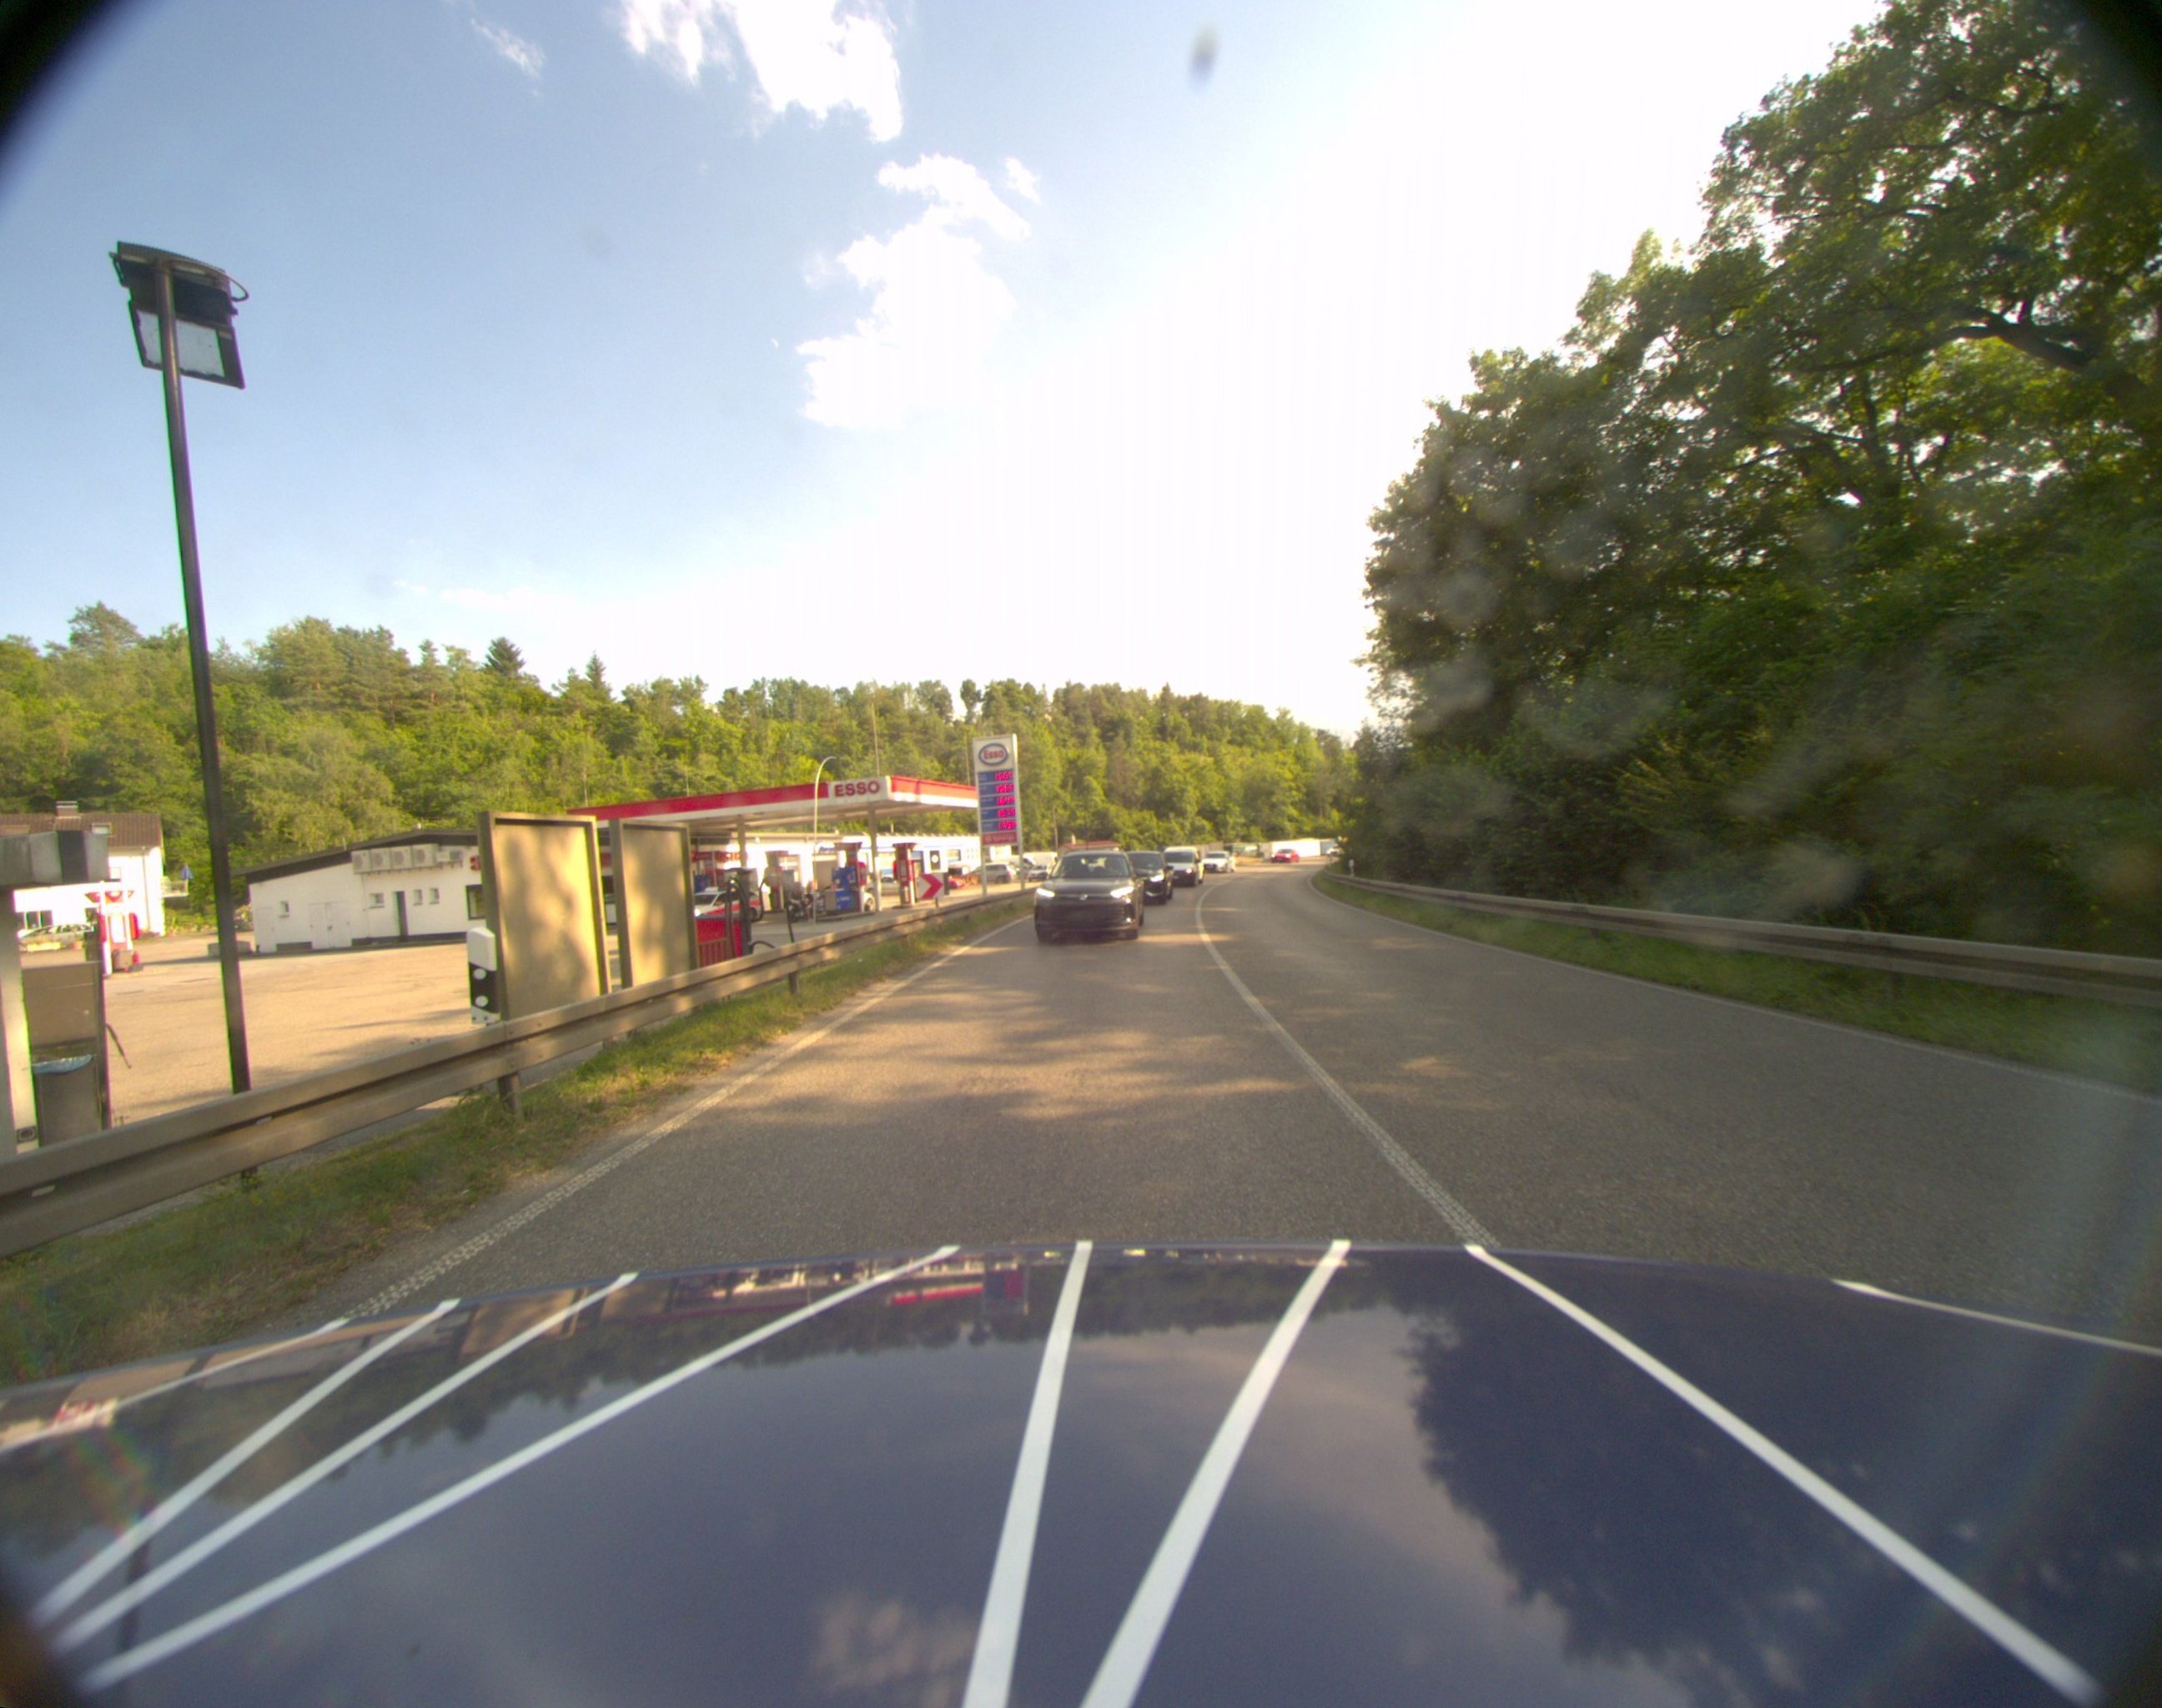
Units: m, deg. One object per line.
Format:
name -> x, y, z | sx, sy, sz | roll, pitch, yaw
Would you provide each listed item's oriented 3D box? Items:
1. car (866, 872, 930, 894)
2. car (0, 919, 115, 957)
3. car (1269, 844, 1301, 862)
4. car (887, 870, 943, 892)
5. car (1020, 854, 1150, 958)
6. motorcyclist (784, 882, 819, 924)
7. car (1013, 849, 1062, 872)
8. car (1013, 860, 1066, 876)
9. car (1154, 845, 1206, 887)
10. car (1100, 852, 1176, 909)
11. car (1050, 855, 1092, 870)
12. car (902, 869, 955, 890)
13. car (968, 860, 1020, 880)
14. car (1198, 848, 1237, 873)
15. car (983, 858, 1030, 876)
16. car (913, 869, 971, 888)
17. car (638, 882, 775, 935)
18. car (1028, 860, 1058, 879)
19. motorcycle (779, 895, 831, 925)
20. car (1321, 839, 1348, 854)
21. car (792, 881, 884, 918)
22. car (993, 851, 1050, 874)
car -> -12.923, 2.066, 53.814 | 3.963, 1.347, 1.778 | -2, 1, 11
car -> -65.116, 5.267, 47.800 | 2.695, 1.826, 5.175 | -4, 0, 41
car -> 19.605, -0.098, 72.859 | 1.856, 1.412, 4.426 | -4, 0, 29
car -> -12.287, 2.003, 56.304 | 3.555, 1.398, 1.692 | -3, 1, 15
car -> 0.253, 0.845, 14.500 | 1.858, 1.630, 4.443 | -1, 1, 8
motorcyclist -> -11.360, 1.972, 30.932 | 0.859, 1.595, 0.928 | -3, 1, 14
car -> -4.862, 0.700, 84.612 | 4.915, 2.435, 2.210 | -2, 1, 13
car -> -4.002, 1.346, 73.495 | 4.727, 1.426, 1.959 | -1, 1, 13
car -> 4.641, 0.508, 35.097 | 1.866, 1.711, 4.767 | -1, 1, 14
car -> 1.913, 0.772, 24.096 | 1.847, 1.560, 4.260 | -2, 0, 11
car -> -1.164, 0.974, 88.391 | 4.410, 1.660, 1.939 | -1, 0, -26
car -> -11.727, 1.961, 58.462 | 3.549, 1.437, 1.735 | -3, 1, 15
car -> -7.755, 1.424, 67.877 | 4.254, 1.719, 1.893 | -1, 1, 12
car -> 9.336, 0.416, 51.751 | 1.894, 1.437, 4.481 | -4, 0, 19
car -> -7.526, 1.338, 76.491 | 4.246, 1.601, 1.897 | -2, 1, 15
car -> -11.060, 1.939, 60.488 | 4.072, 1.340, 1.897 | -2, 1, 15
car -> -15.087, 2.154, 31.057 | 2.095, 1.618, 5.185 | -3, 0, 14
car -> -3.361, 1.371, 68.399 | 1.793, 1.587, 3.992 | -1, 1, 11
motorcycle -> -11.274, 2.272, 31.167 | 0.763, 1.006, 2.343 | -3, 0, 14
car -> 29.888, -0.890, 89.501 | 1.912, 1.457, 4.544 | -4, 0, 31
car -> -10.997, 2.021, 34.709 | 1.845, 1.311, 4.394 | -3, 0, 15
car -> -6.328, 0.860, 81.051 | 5.481, 2.261, 2.297 | -2, 1, 15
